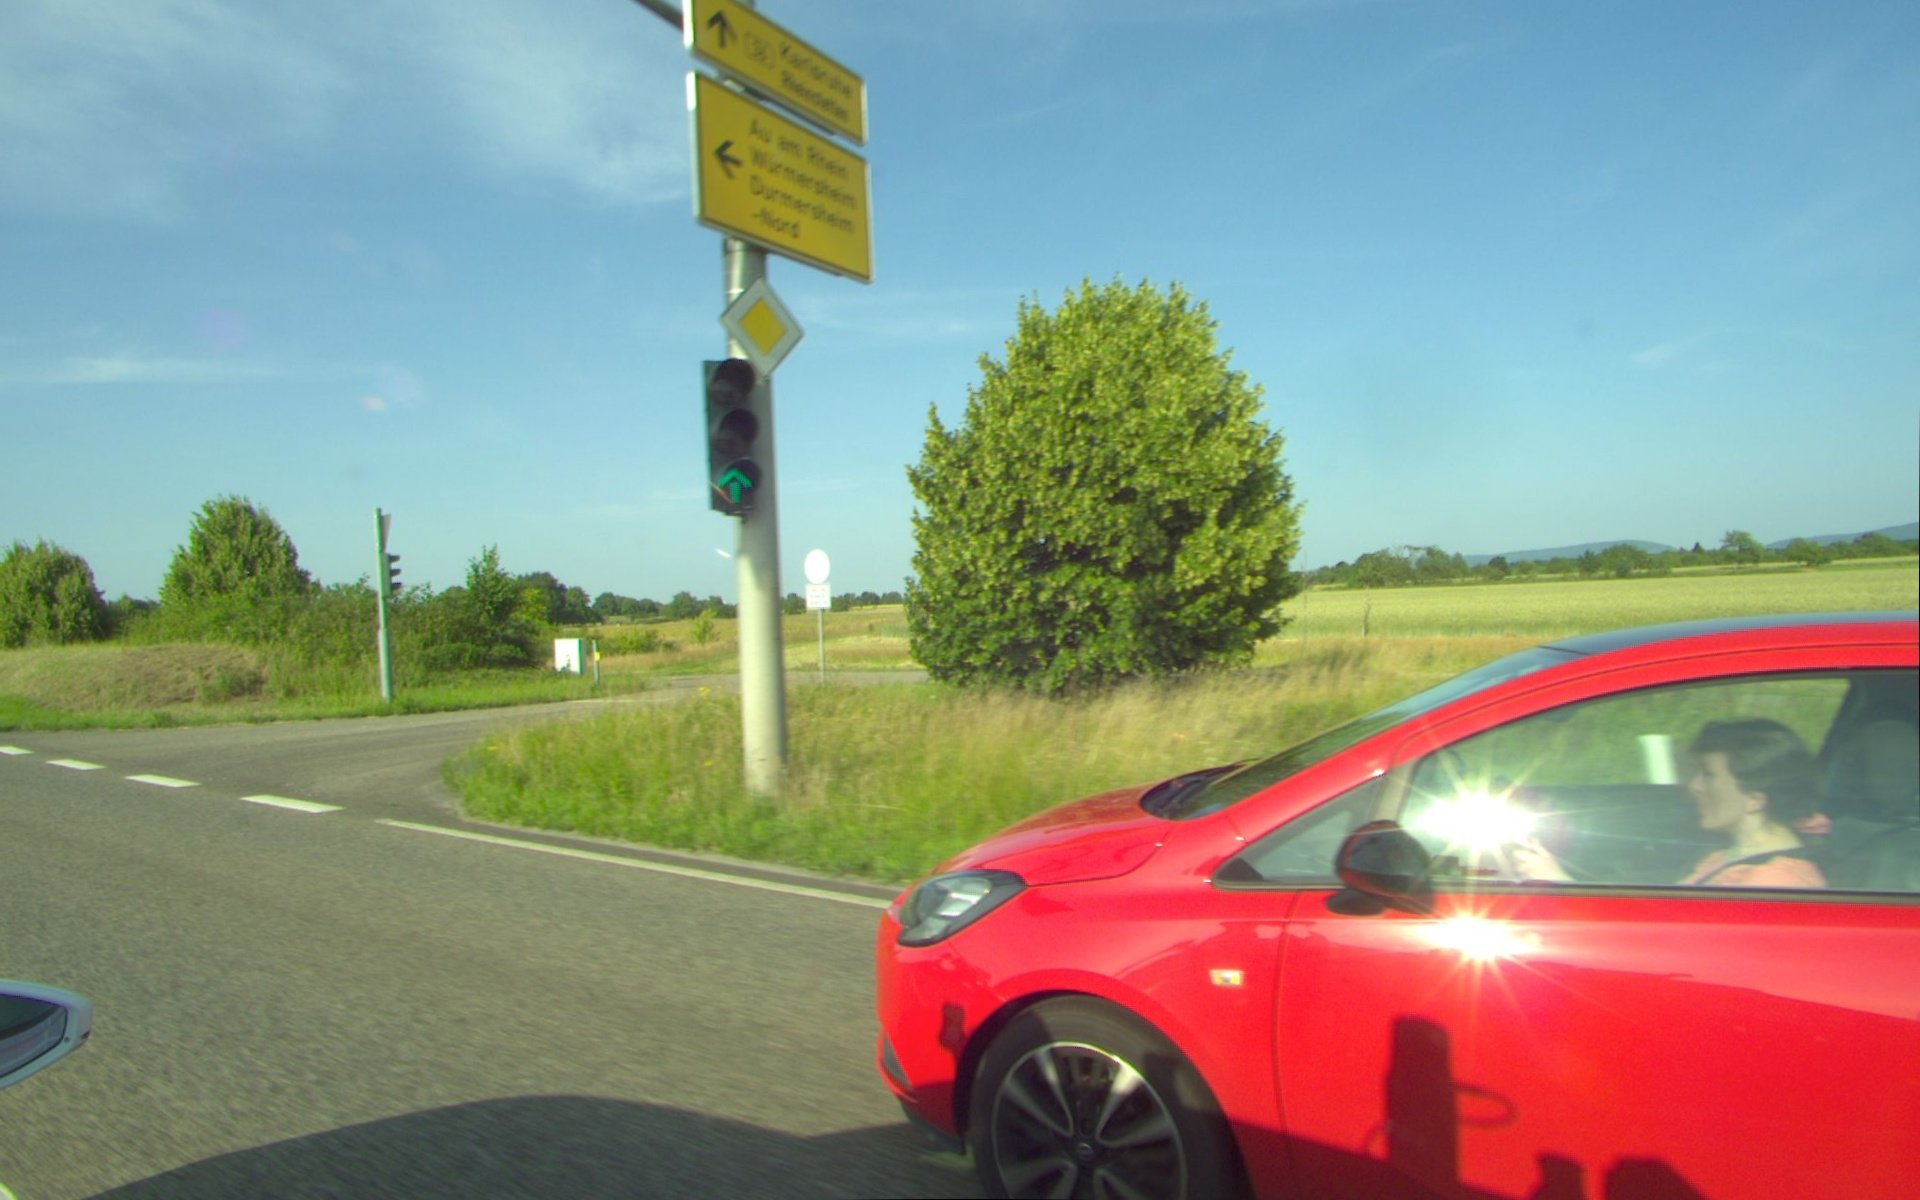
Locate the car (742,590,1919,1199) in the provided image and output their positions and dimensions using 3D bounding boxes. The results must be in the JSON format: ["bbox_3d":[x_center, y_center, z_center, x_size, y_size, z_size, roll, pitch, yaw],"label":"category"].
[{"bbox_3d":[1.535,0.751,2.418,3.895,1.483,1.660,-2,-1,29],"label":"car"}]
